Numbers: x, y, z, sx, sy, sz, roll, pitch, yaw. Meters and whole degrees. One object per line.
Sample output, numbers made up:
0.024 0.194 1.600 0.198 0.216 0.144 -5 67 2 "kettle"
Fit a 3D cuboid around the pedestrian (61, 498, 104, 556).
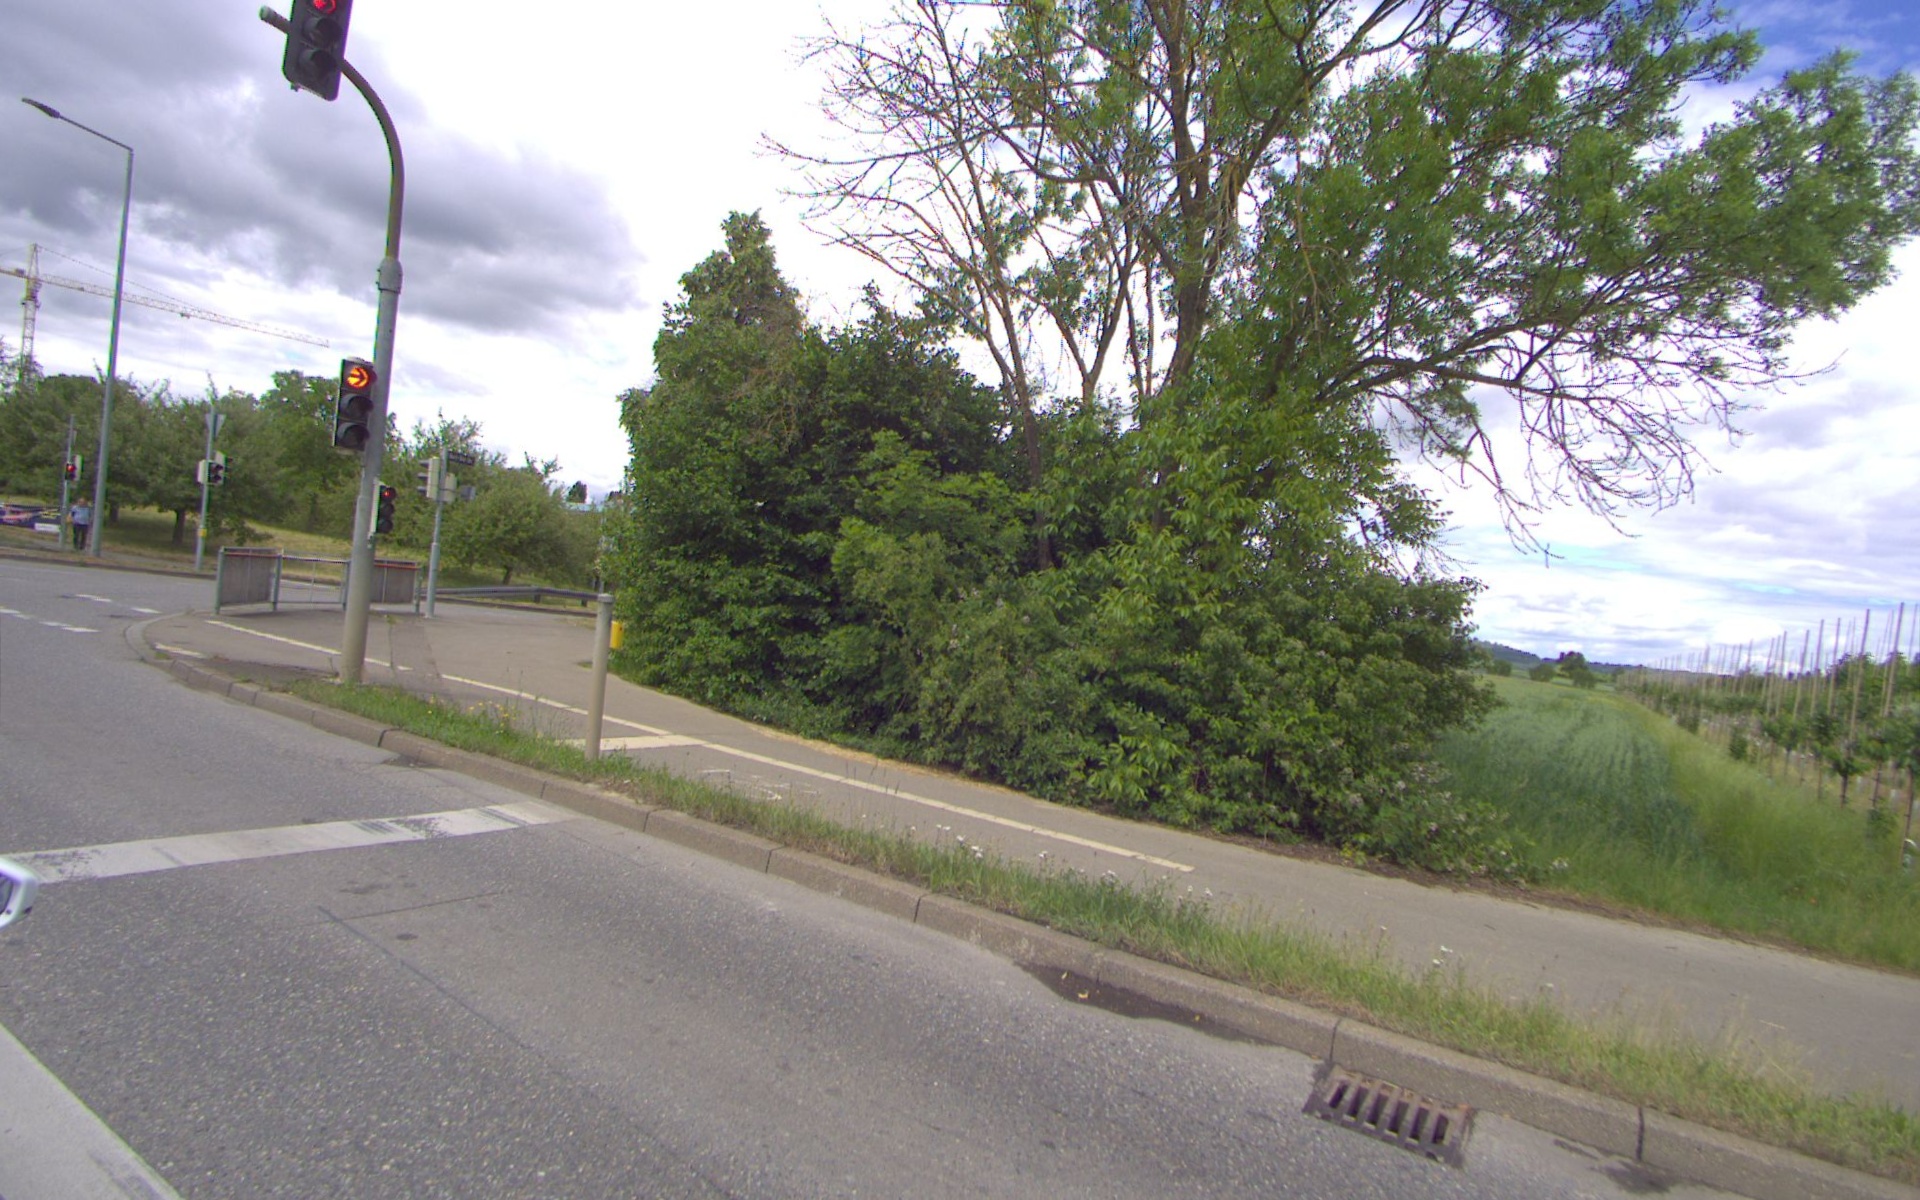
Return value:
-29.712 -2.460 34.056 1.027 1.813 0.719 6 -1 36 "pedestrian"
